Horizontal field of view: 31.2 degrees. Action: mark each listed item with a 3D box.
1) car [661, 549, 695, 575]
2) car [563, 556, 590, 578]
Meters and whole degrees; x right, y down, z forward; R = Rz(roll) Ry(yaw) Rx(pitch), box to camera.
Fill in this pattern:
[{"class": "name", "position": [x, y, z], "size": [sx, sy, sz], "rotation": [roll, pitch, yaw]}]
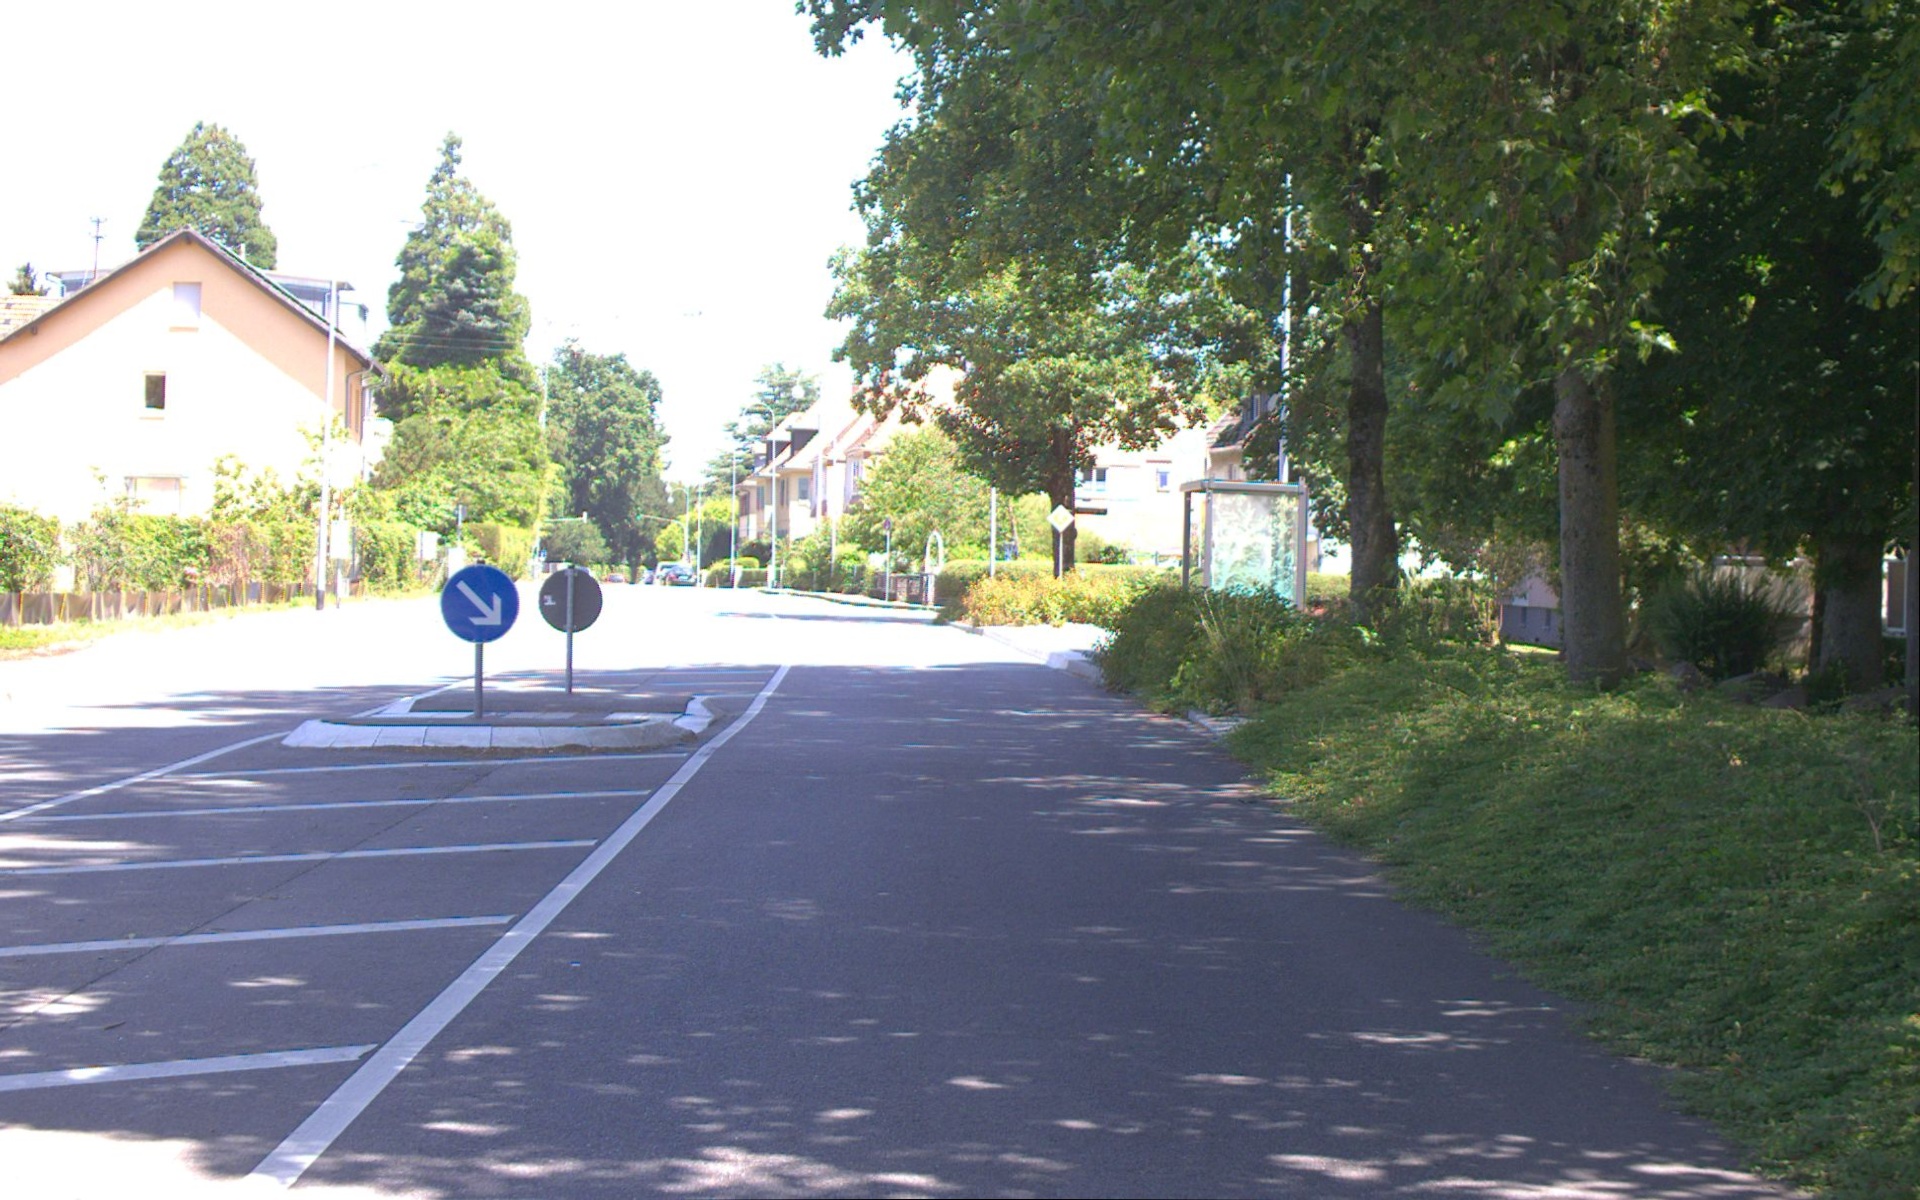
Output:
[{"class": "car", "position": [-16.476, -2.220, 200.871], "size": [1.692, 1.414, 4.552], "rotation": [2, -1, -8]}, {"class": "car", "position": [-24.146, -2.075, 216.505], "size": [1.680, 1.368, 4.207], "rotation": [0, 1, -6]}]
